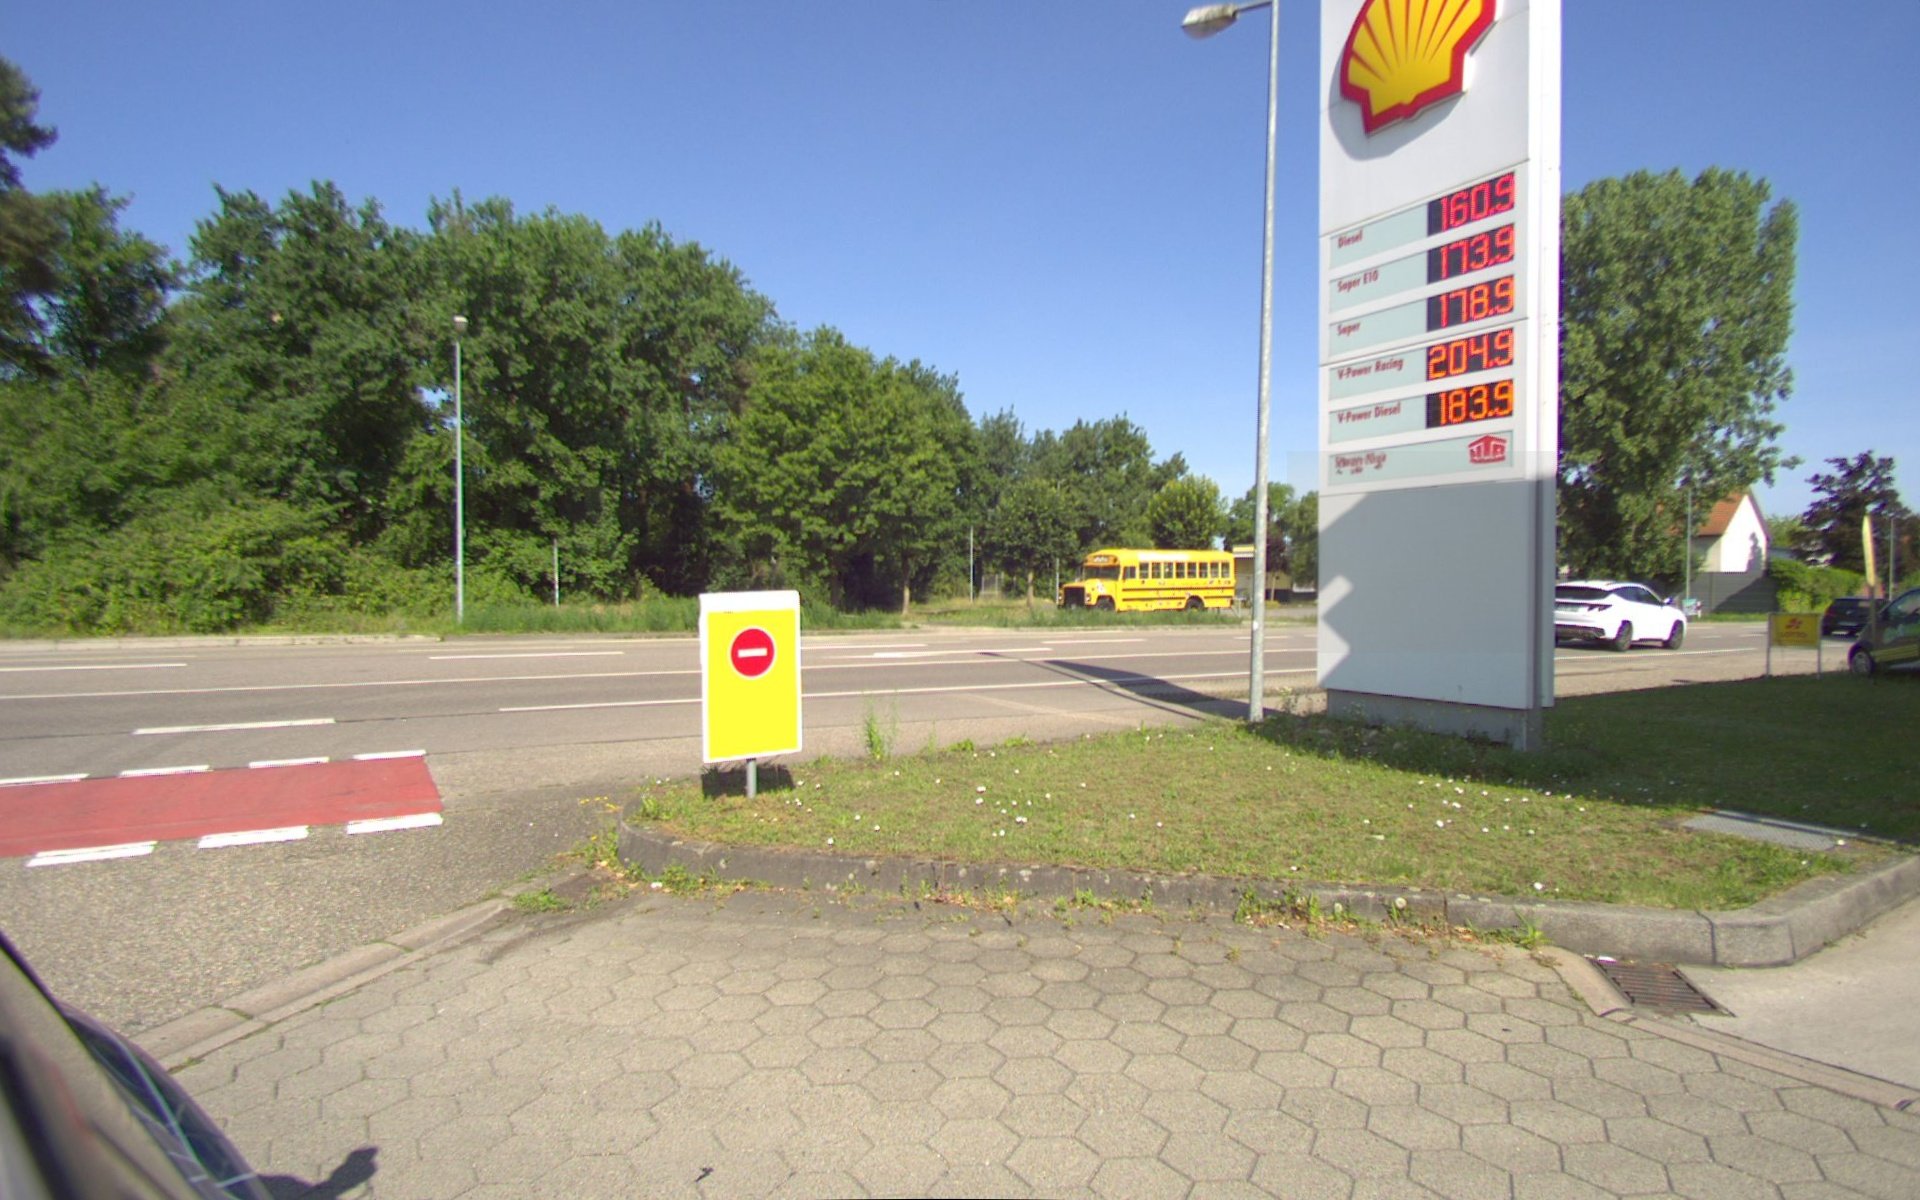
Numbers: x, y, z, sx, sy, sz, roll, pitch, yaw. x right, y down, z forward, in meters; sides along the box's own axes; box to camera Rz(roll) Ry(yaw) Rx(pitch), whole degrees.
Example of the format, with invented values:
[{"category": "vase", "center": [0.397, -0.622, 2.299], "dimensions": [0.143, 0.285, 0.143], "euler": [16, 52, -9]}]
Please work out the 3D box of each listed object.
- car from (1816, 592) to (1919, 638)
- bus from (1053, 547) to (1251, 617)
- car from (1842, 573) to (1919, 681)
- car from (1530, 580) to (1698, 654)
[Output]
[{"category": "car", "center": [31.365, 0.489, 34.919], "dimensions": [3.986, 1.441, 1.656], "euler": [0, 3, -33]}, {"category": "bus", "center": [8.209, -0.706, 42.582], "dimensions": [8.846, 2.699, 2.595], "euler": [1, 2, -34]}, {"category": "car", "center": [14.503, 0.415, 14.530], "dimensions": [1.562, 1.541, 2.721], "euler": [2, 1, 12]}, {"category": "car", "center": [16.207, 0.371, 25.038], "dimensions": [4.234, 1.660, 1.819], "euler": [0, 2, -32]}]
